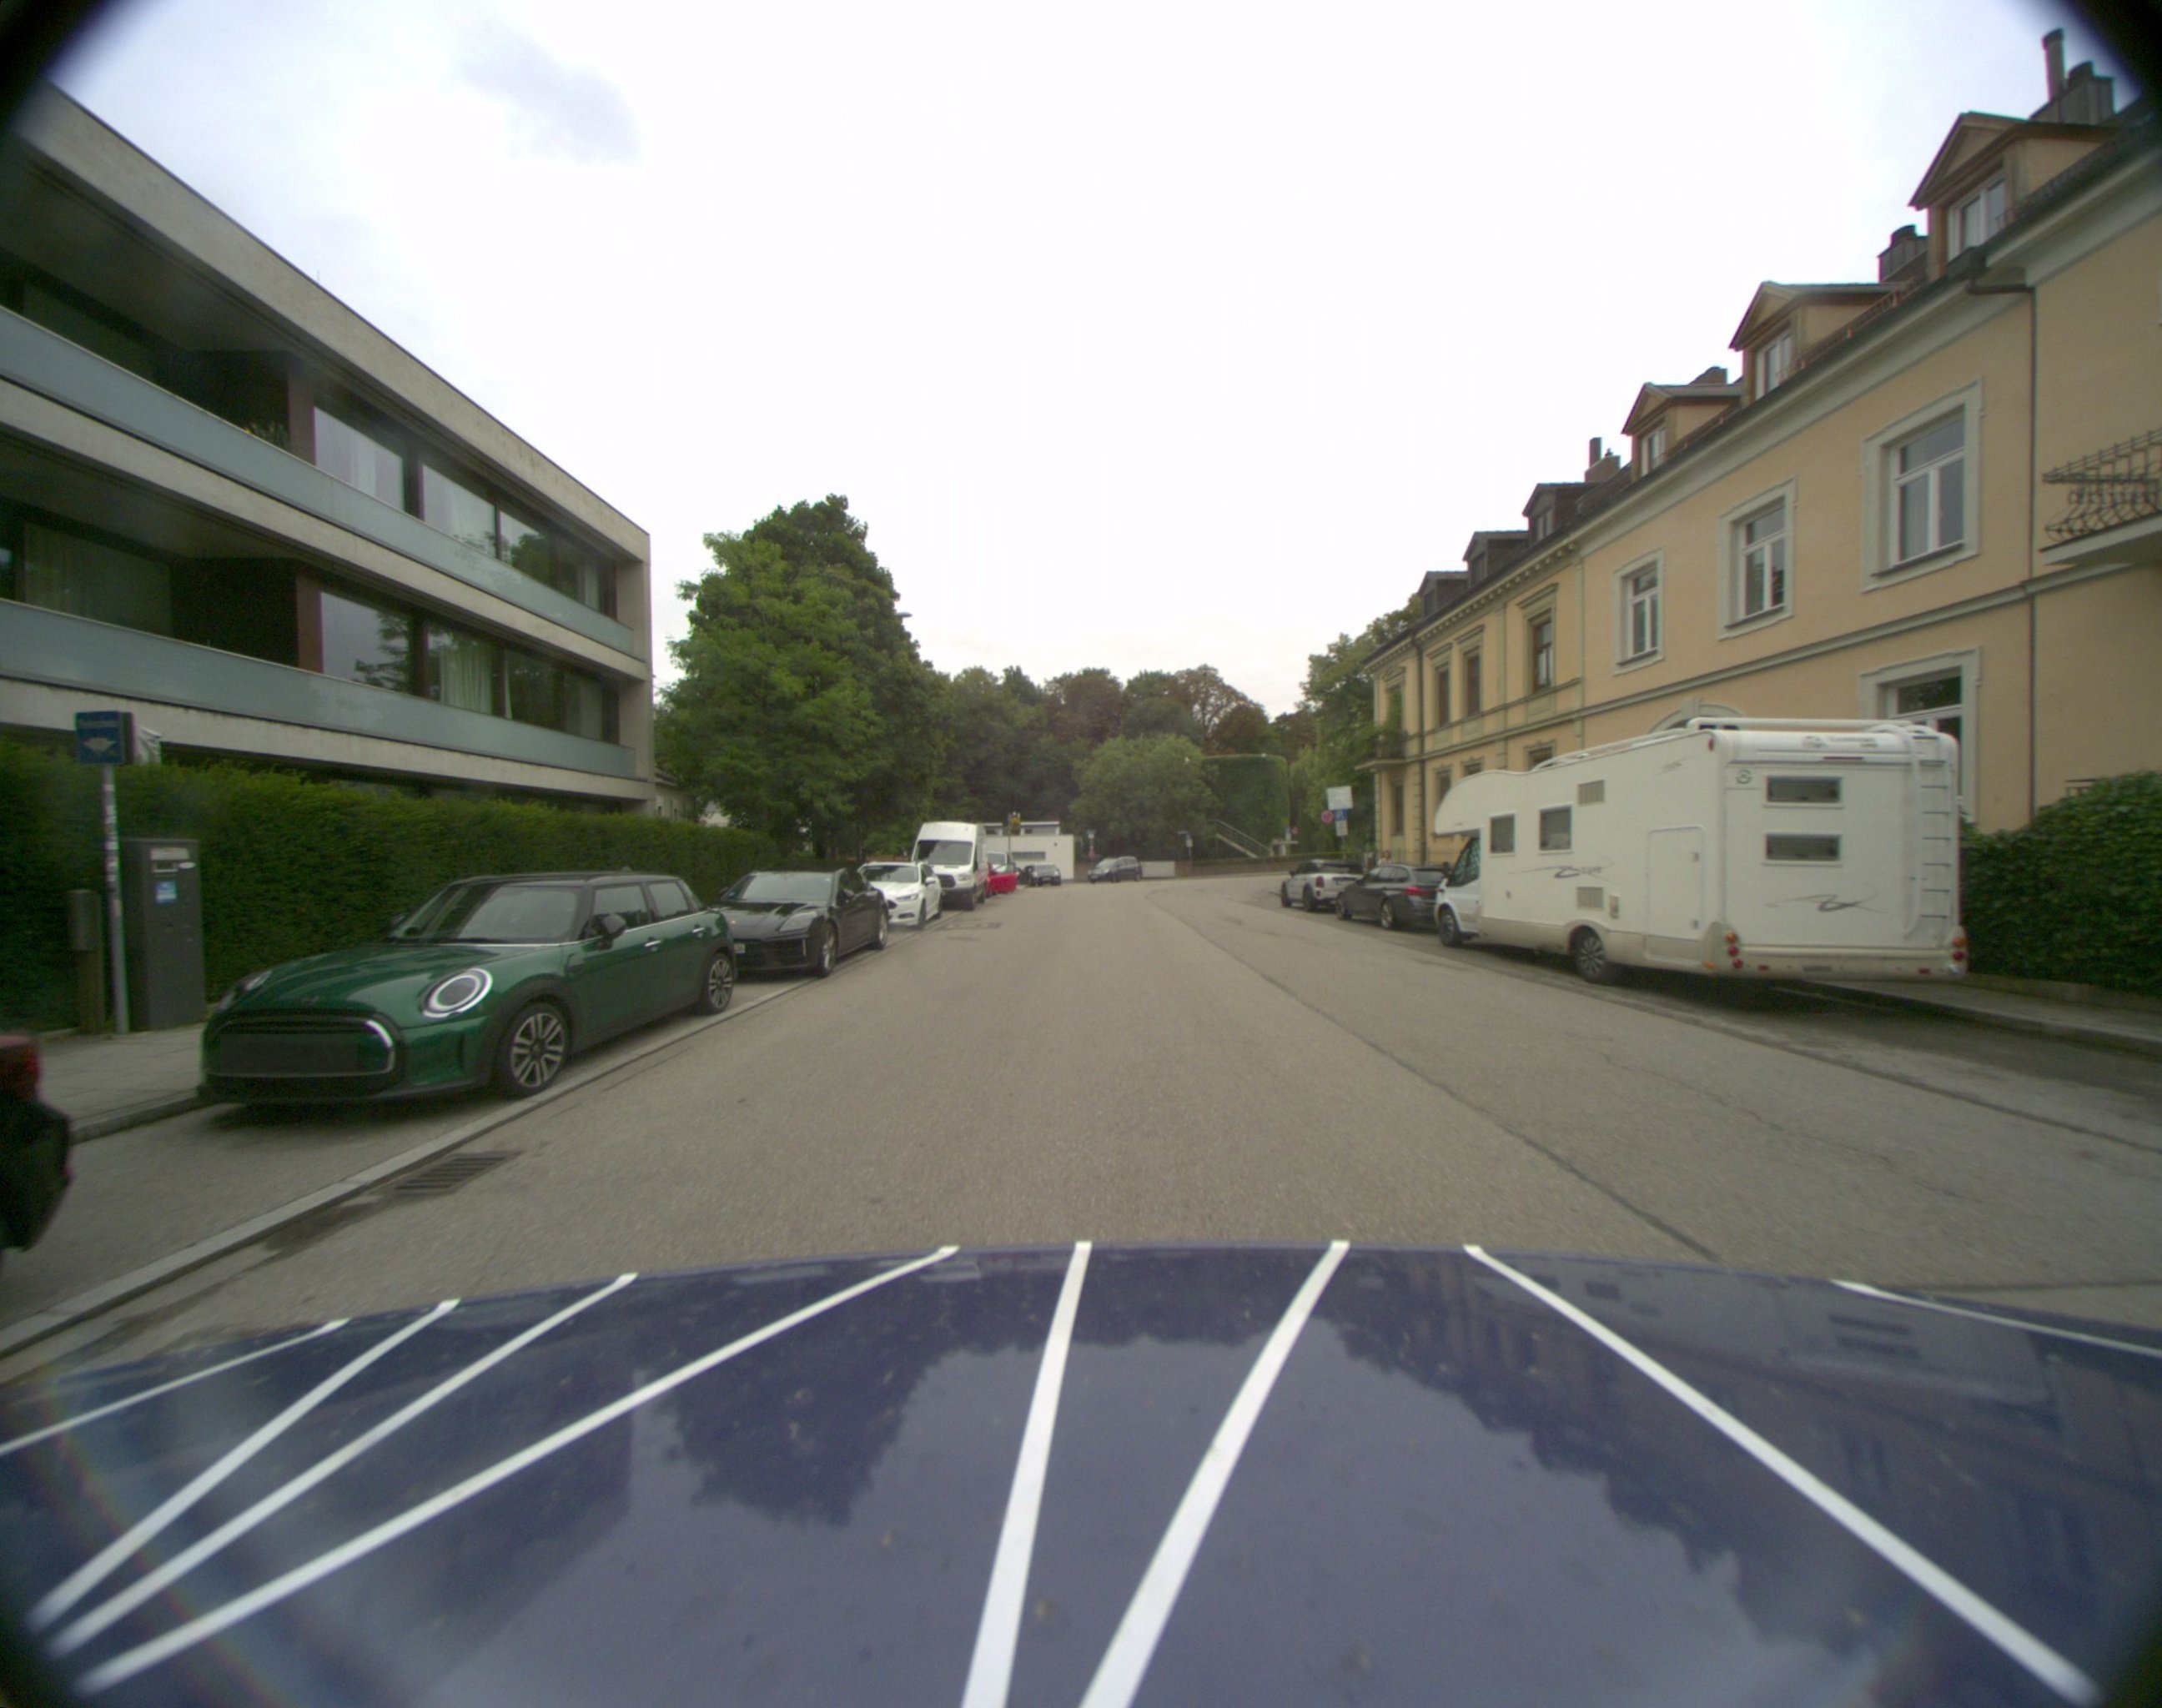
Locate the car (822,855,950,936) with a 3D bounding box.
[{"bbox_3d":[-4.326,0.861,17.658,1.876,1.560,5.000,2,-1,-3],"label":"car"}]

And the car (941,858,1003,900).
[{"bbox_3d":[-4.289,0.954,30.672,1.875,1.498,4.837,2,-1,-1],"label":"car"}]

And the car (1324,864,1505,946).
[{"bbox_3d":[7.390,1.038,17.471,1.941,1.499,4.821,2,0,-1],"label":"car"}]

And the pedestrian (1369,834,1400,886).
[{"bbox_3d":[9.664,0.186,24.202,0.655,1.594,0.740,-2,0,1],"label":"pedestrian"}]

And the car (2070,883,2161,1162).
[{"bbox_3d":[6.873,0.966,2.460,1.783,1.526,4.228,2,0,0],"label":"car"}]

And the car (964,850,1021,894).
[{"bbox_3d":[-4.076,0.811,35.906,1.939,1.893,5.072,2,0,1],"label":"car"}]

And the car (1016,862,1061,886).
[{"bbox_3d":[-2.940,1.395,51.407,1.899,1.437,4.009,-3,-2,-20],"label":"car"}]

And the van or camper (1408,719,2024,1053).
[{"bbox_3d":[7.211,0.287,10.395,2.461,2.923,7.212,1,0,2],"label":"van or camper"}]

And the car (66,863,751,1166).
[{"bbox_3d":[-4.435,0.871,6.082,1.731,1.520,4.204,1,0,0],"label":"car"}]

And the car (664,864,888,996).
[{"bbox_3d":[-4.242,0.923,11.530,1.284,1.497,5.207,2,-1,0],"label":"car"}]

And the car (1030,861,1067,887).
[{"bbox_3d":[-2.055,1.214,46.890,1.897,1.438,4.267,-3,-1,-6],"label":"car"}]

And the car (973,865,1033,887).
[{"bbox_3d":[-5.698,1.612,55.414,4.004,1.437,1.946,-3,-3,34],"label":"car"}]

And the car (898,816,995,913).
[{"bbox_3d":[-4.135,0.338,24.442,2.085,2.670,6.087,2,-1,-1],"label":"car"}]

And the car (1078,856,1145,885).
[{"bbox_3d":[1.964,1.088,47.759,1.995,1.682,4.345,-5,-5,37],"label":"car"}]

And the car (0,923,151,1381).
[{"bbox_3d":[-4.389,0.983,0.742,1.752,1.455,4.242,0,0,0],"label":"car"}]

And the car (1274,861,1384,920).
[{"bbox_3d":[7.459,1.044,23.343,1.940,1.526,4.531,2,0,1],"label":"car"}]
